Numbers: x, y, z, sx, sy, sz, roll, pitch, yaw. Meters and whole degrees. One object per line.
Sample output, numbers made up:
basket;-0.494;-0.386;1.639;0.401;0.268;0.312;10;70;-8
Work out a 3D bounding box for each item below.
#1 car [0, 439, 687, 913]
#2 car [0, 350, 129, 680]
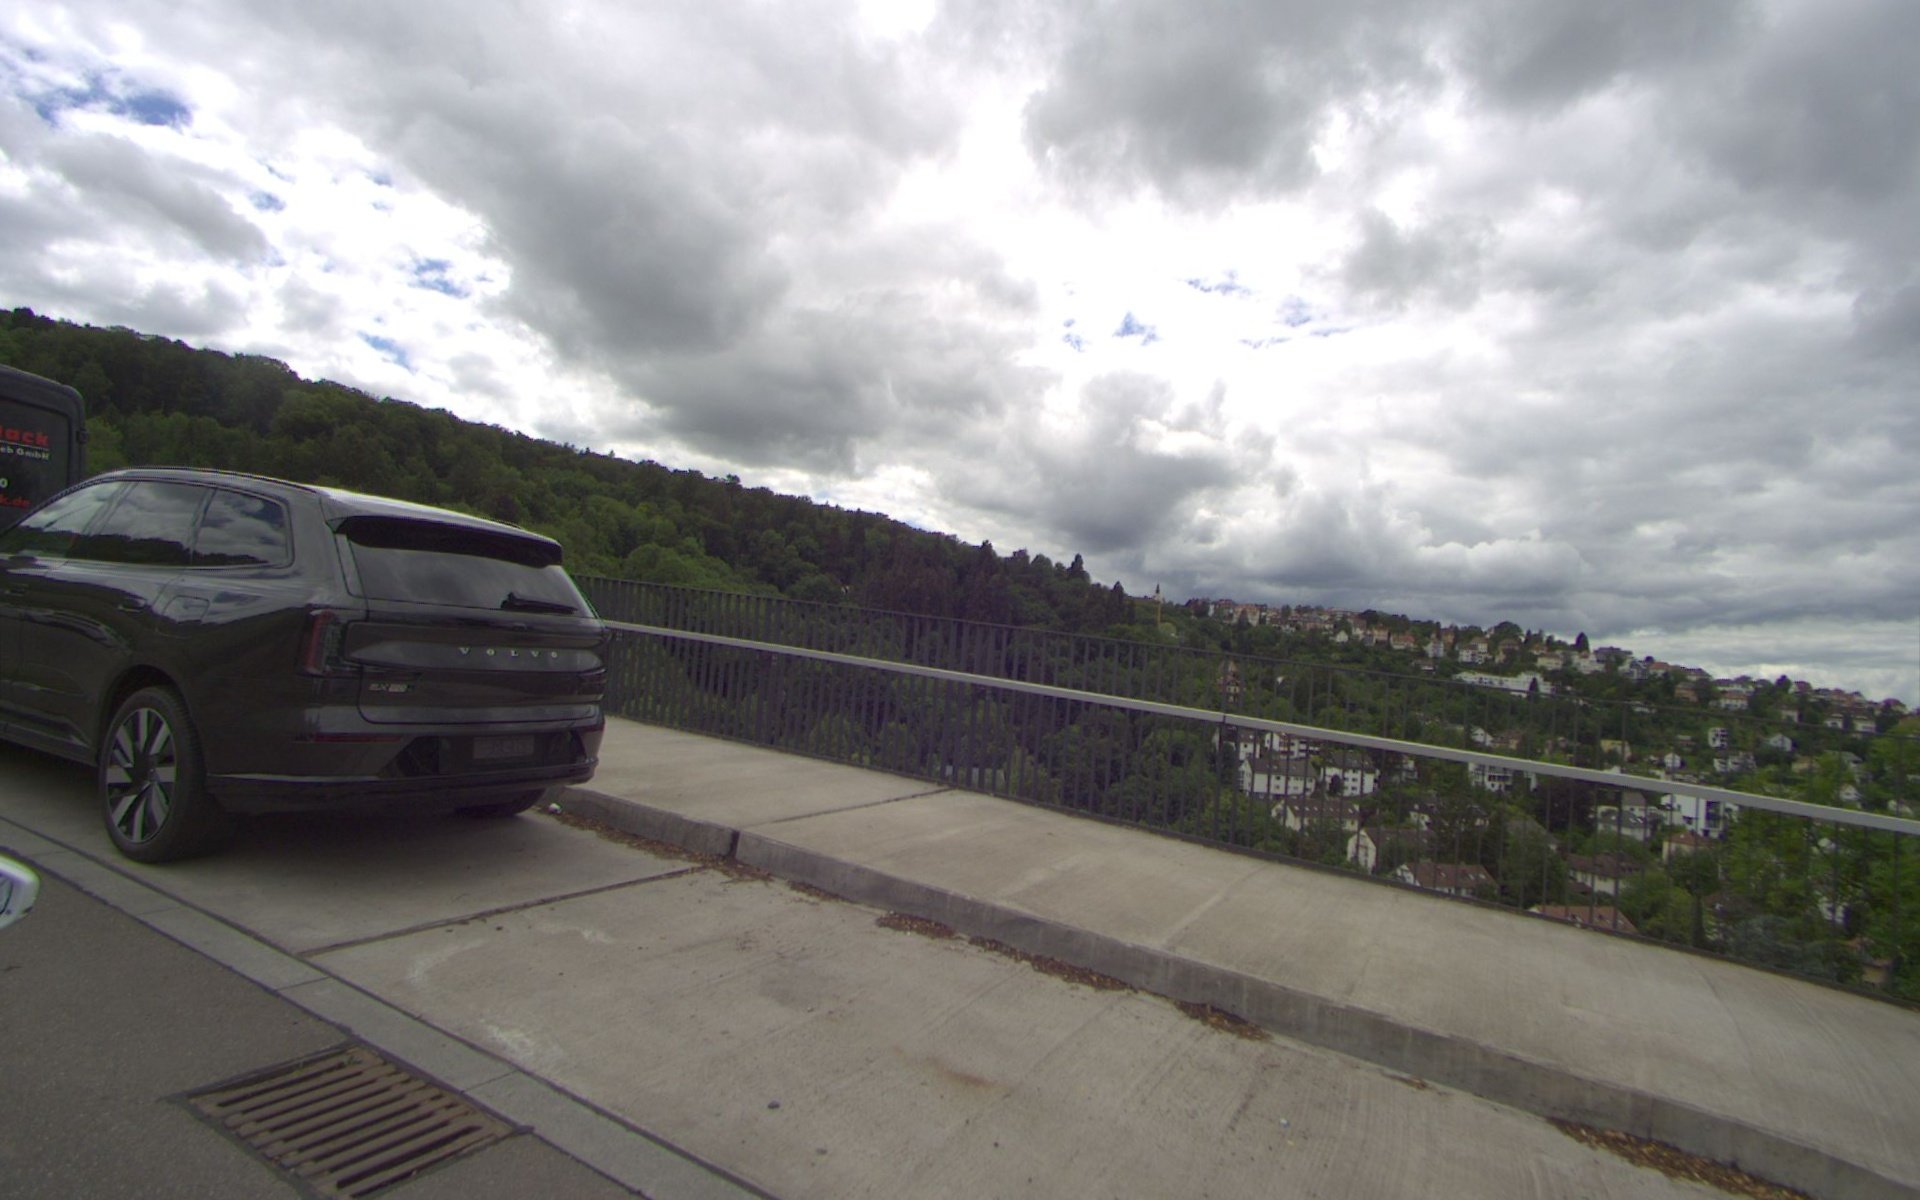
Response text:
car;-4.231;0.150;5.777;4.961;1.739;1.998;6;0;27
car;-10.161;-0.960;8.692;5.666;2.554;2.171;7;1;24
